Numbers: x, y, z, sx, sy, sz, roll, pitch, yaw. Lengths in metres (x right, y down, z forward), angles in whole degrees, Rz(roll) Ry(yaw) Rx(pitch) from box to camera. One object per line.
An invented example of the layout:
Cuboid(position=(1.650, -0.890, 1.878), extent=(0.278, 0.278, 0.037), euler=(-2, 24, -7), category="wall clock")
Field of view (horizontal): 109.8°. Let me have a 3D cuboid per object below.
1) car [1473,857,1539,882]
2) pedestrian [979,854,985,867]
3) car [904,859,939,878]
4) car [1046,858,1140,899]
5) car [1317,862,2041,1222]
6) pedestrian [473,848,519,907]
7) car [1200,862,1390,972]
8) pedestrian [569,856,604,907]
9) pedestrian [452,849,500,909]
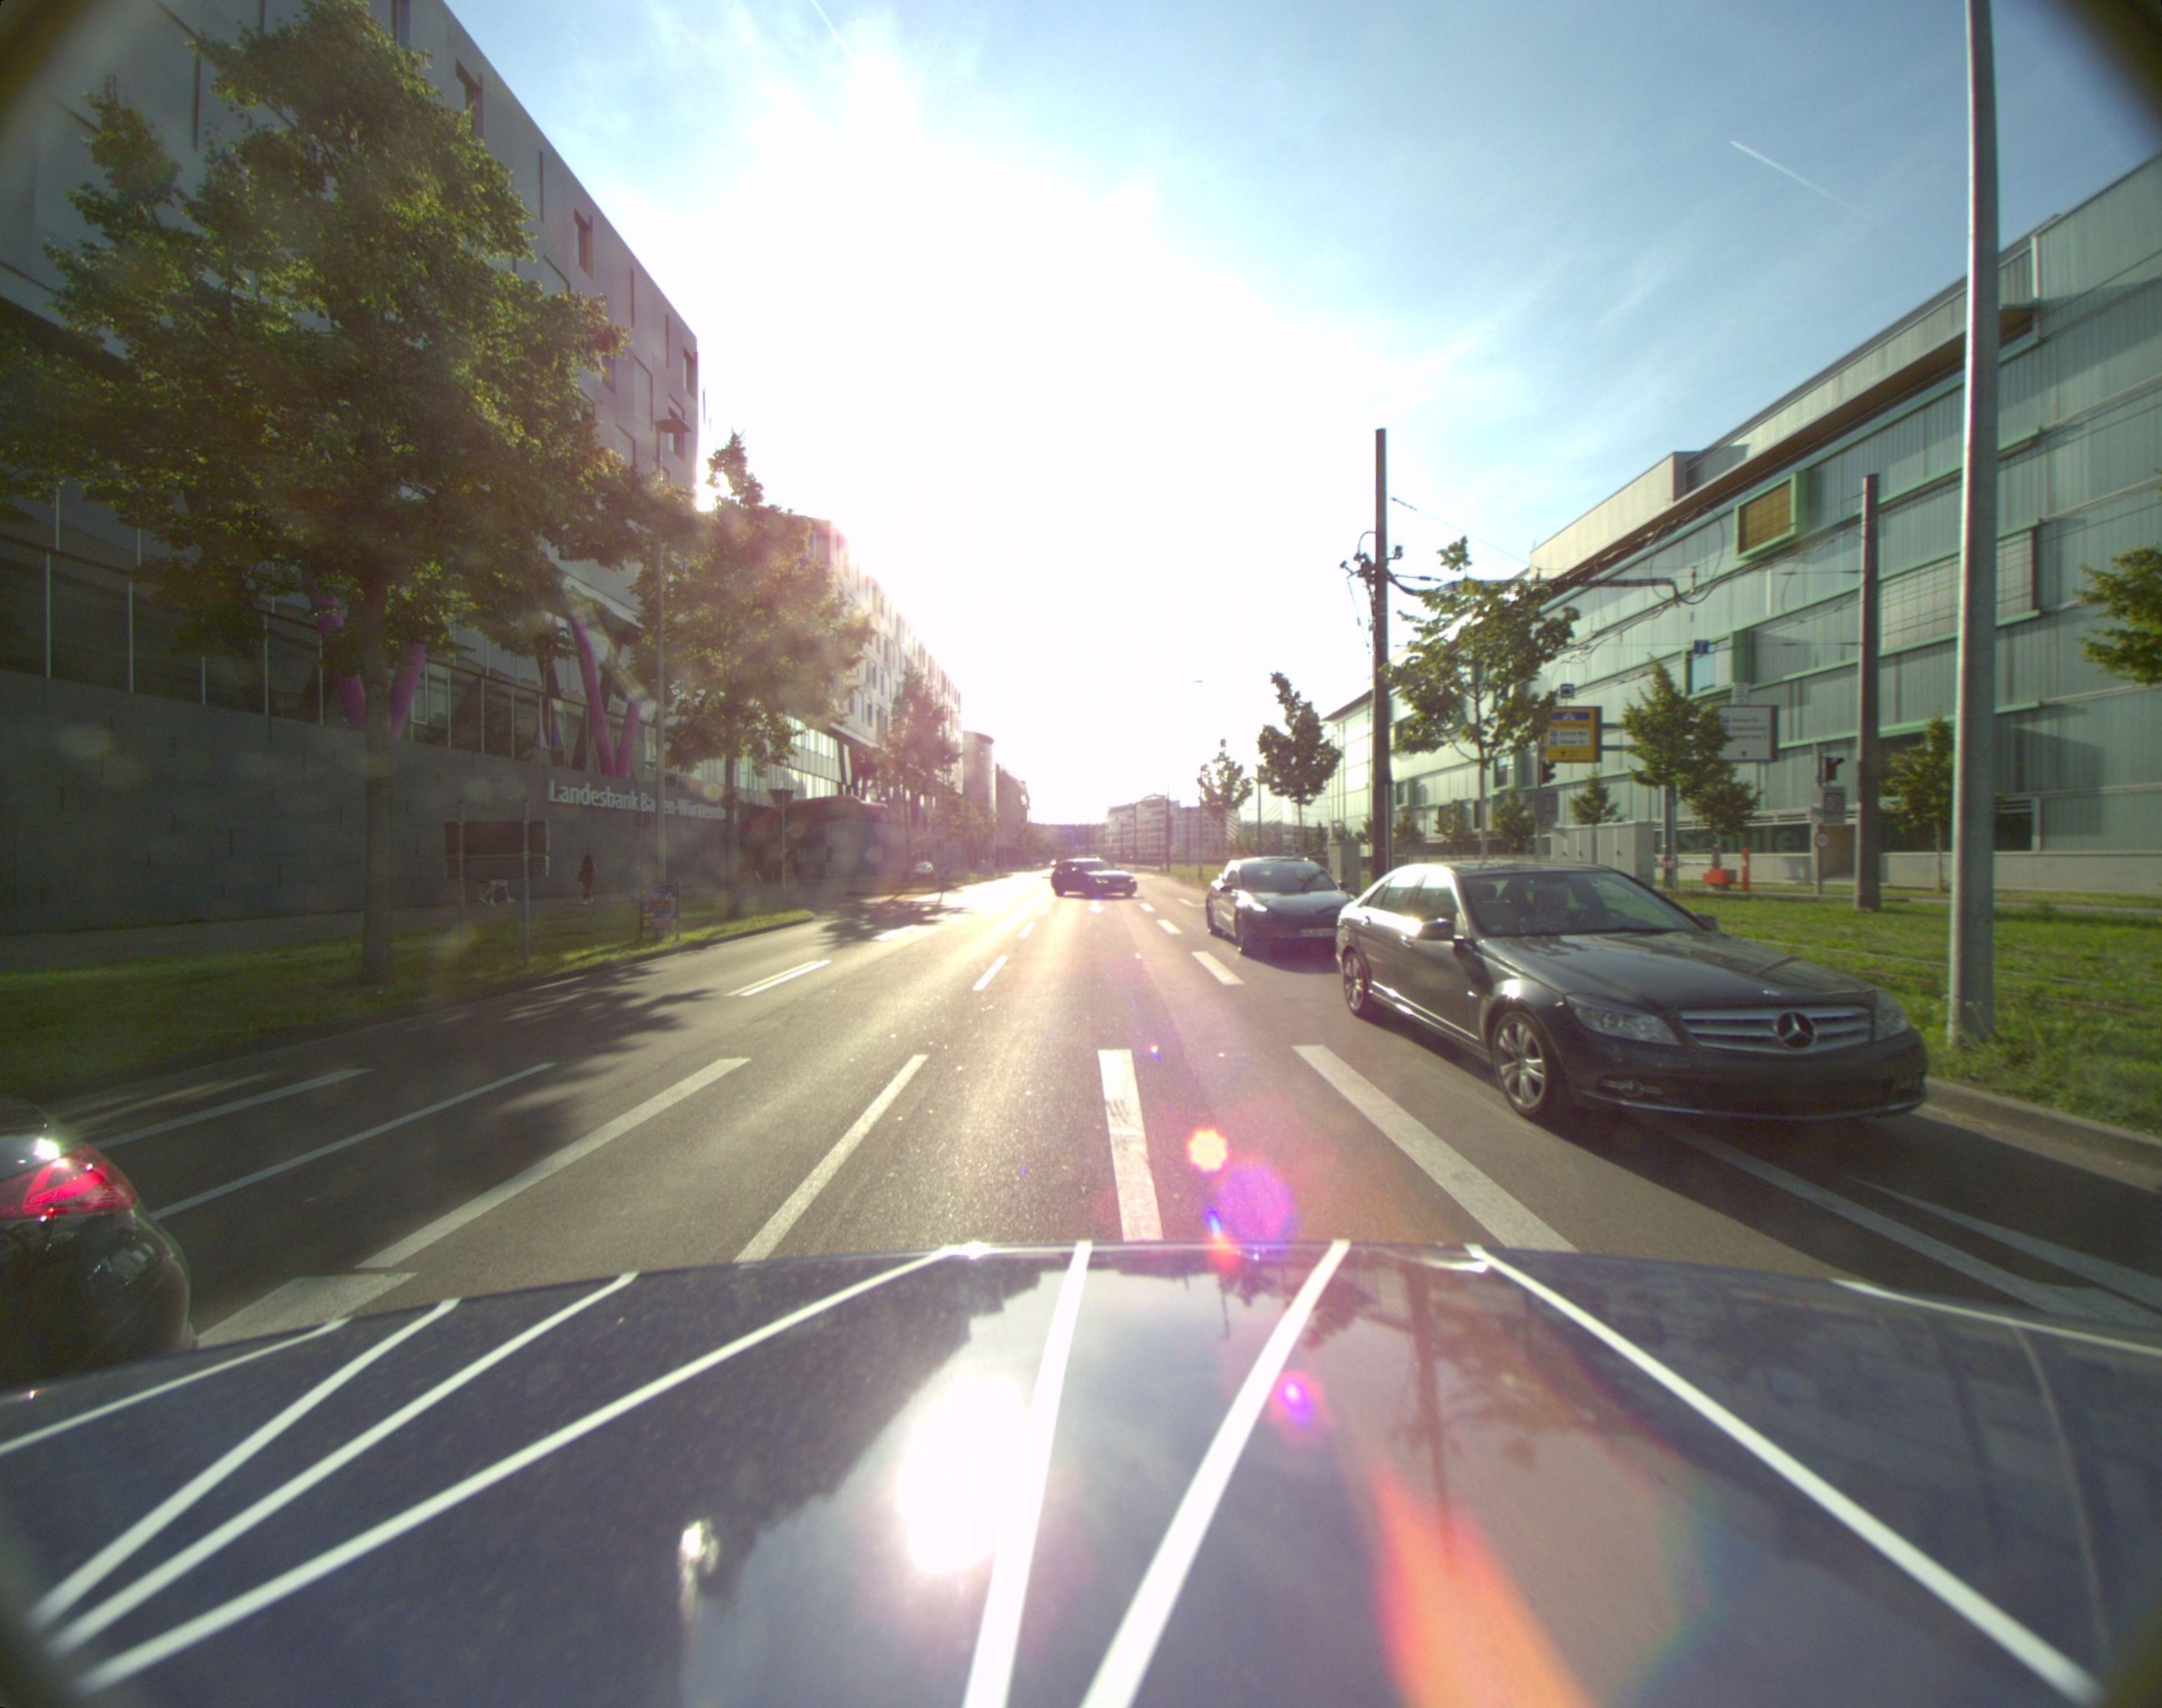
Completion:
Cuboid(position=(27.692, 0.973, 49.691), extent=(1.882, 1.519, 4.223), euler=(0, 0, -1), category="car")
Cuboid(position=(-13.767, 0.916, 105.191), extent=(0.725, 1.776, 0.771), euler=(0, 1, 0), category="pedestrian")
Cuboid(position=(-11.604, 1.038, 55.595), extent=(1.696, 1.382, 4.199), euler=(0, -1, -1), category="car")
Cuboid(position=(0.367, 0.898, 30.038), extent=(1.898, 1.418, 4.464), euler=(-2, 1, -26), category="car")
Cuboid(position=(3.238, 0.834, 5.440), extent=(1.791, 1.470, 4.354), euler=(-2, 0, 2), category="car")
Cuboid(position=(-18.203, 0.731, 23.654), extent=(0.756, 1.783, 0.844), euler=(2, 0, 0), category="pedestrian")
Cuboid(position=(3.216, 0.874, 12.372), extent=(1.894, 1.377, 4.335), euler=(-2, 0, 1), category="car")
Cuboid(position=(-16.314, 0.881, 25.080), extent=(0.695, 1.629, 0.736), euler=(1, 2, 0), category="pedestrian")
Cuboid(position=(-18.790, 0.752, 23.606), extent=(0.770, 1.814, 0.853), euler=(2, 0, 0), category="pedestrian")
